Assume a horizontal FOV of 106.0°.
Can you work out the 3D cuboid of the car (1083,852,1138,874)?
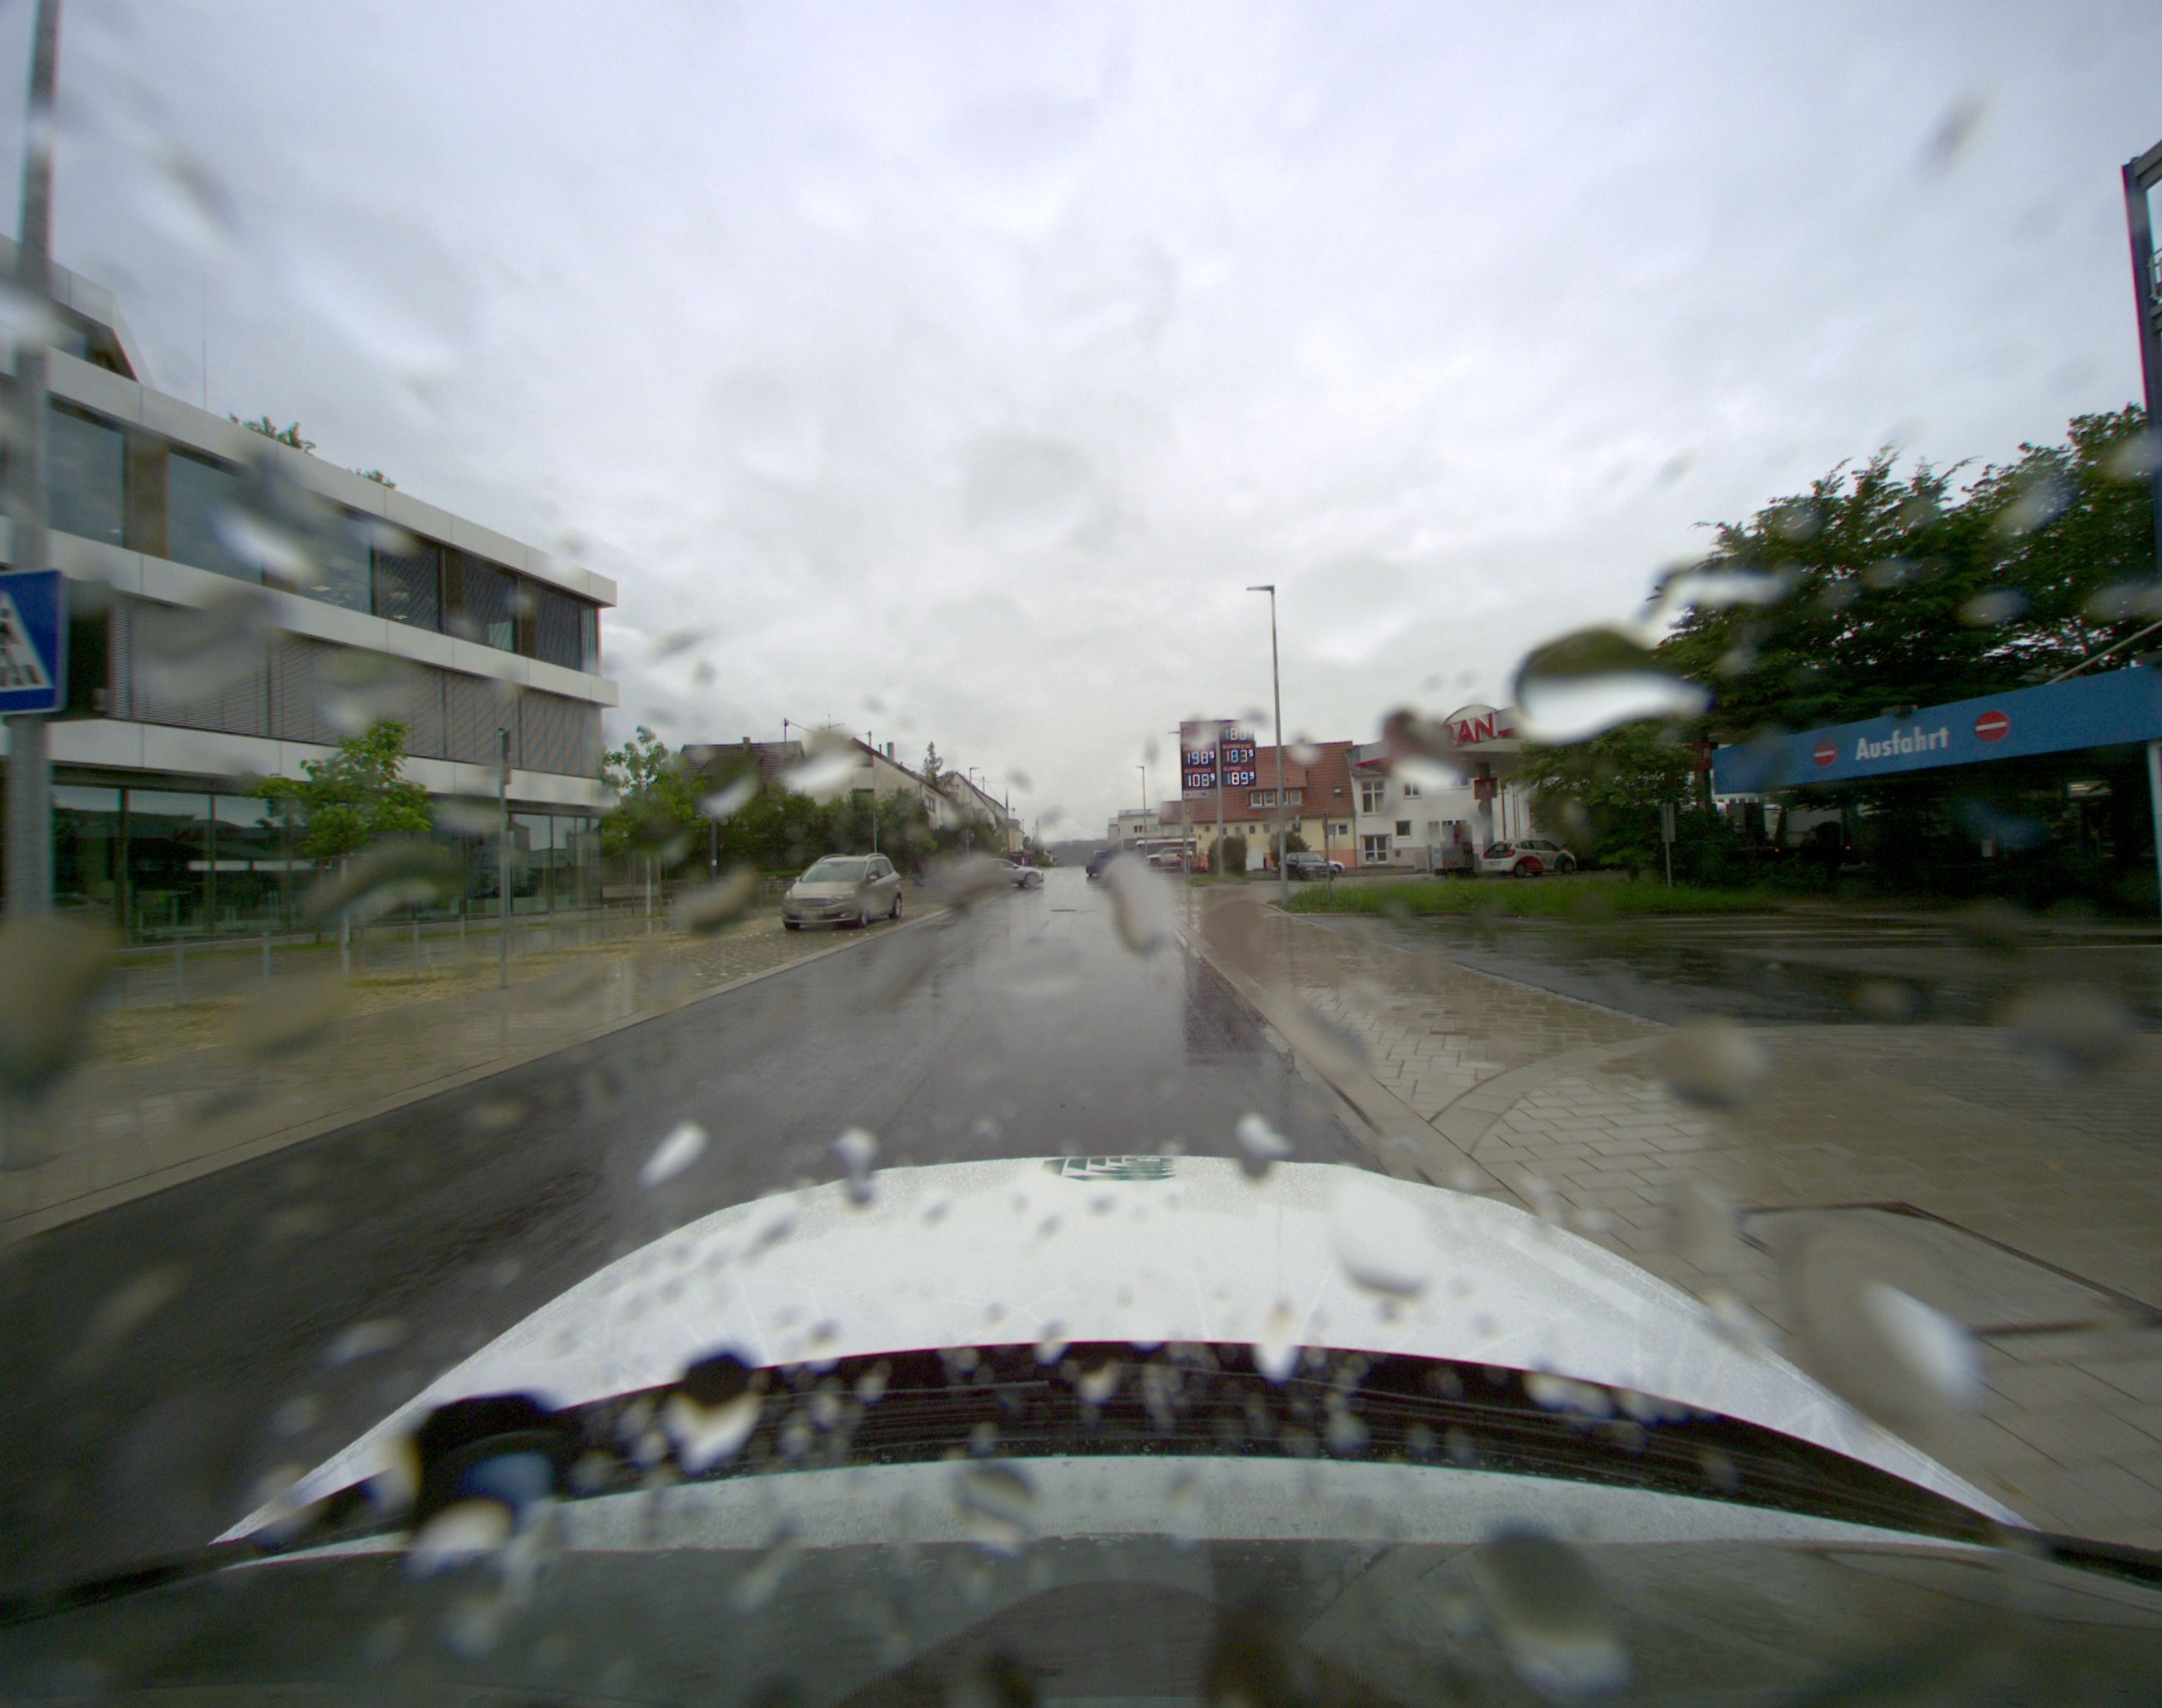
[{"bbox_3d":[2.111,0.694,59.936,1.867,1.493,3.953,4,-3,-40],"label":"car"}]

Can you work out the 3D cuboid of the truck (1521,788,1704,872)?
[{"bbox_3d":[24.917,-1.005,38.216,7.730,3.445,2.667,2,-3,-14],"label":"truck"}]

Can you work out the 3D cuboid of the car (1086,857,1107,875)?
[{"bbox_3d":[1.636,1.222,84.768,1.986,1.706,4.000,2,-2,2],"label":"car"}]

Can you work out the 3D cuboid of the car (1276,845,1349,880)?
[{"bbox_3d":[11.468,0.470,40.658,1.993,1.552,3.986,2,-2,-10],"label":"car"}]

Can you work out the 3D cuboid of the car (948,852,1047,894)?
[{"bbox_3d":[-4.378,1.022,42.748,4.769,2.014,1.986,3,-3,-21],"label":"car"}]

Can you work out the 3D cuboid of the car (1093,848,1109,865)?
[{"bbox_3d":[2.248,0.251,91.360,1.776,1.706,4.000,2,-2,2],"label":"car"}]

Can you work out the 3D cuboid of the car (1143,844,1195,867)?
[{"bbox_3d":[7.397,0.145,68.704,4.101,1.706,1.787,2,-2,-2],"label":"car"}]

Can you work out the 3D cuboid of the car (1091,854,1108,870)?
[{"bbox_3d":[2.224,1.000,97.520,1.986,1.706,4.000,2,-2,2],"label":"car"}]

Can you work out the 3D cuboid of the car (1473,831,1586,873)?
[{"bbox_3d":[17.189,-0.045,31.242,3.526,1.556,1.942,0,-2,-19],"label":"car"}]

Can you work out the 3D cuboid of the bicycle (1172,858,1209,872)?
[{"bbox_3d":[8.311,0.848,62.052,0.672,1.067,3.594,3,-3,-30],"label":"bicycle"}]

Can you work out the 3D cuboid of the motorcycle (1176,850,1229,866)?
[{"bbox_3d":[9.577,0.325,64.282,3.949,1.153,1.100,1,-3,28],"label":"motorcycle"}]

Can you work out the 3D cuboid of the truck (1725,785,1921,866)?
[{"bbox_3d":[21.466,-0.721,23.818,1.990,2.014,3.993,2,-2,-4],"label":"truck"}]

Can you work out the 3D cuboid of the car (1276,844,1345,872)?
[{"bbox_3d":[14.342,0.270,51.137,3.962,1.556,1.959,1,-2,10],"label":"car"}]

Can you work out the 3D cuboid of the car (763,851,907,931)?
[{"bbox_3d":[-5.636,0.790,19.282,1.986,1.629,4.154,-2,0,2],"label":"car"}]
